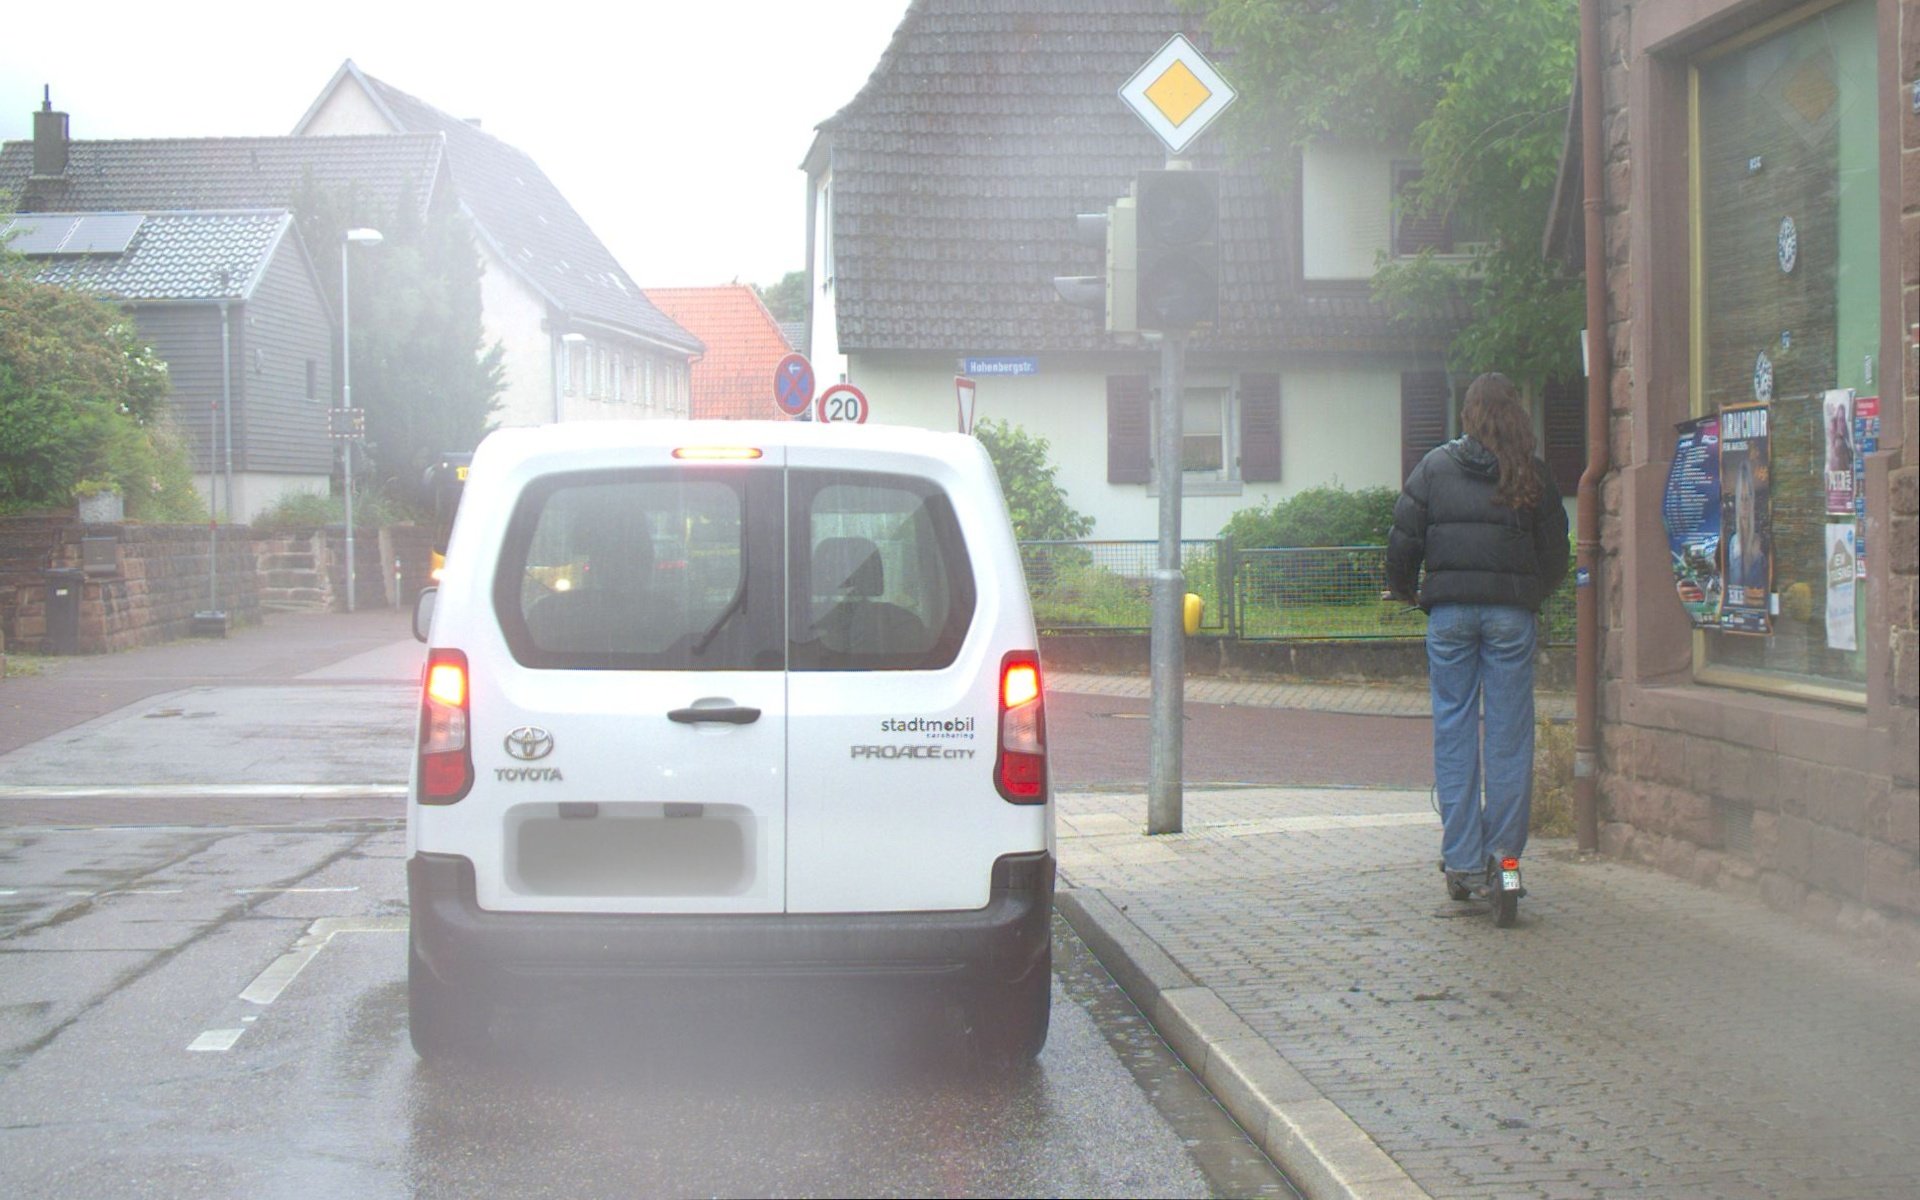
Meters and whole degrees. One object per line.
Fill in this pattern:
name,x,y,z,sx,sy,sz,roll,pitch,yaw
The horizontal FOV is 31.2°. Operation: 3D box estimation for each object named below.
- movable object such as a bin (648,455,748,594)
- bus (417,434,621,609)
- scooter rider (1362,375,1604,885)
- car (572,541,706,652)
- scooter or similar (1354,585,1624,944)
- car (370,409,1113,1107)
movable object such as a bin,-5.185,-1.506,68.406,1.727,2.644,3.974,1,1,-1
bus,-8.208,-1.653,65.392,2.649,2.989,12.195,0,3,-2
scooter rider,1.805,0.099,11.926,0.731,1.727,0.518,0,0,-4
car,-4.906,-0.084,52.927,1.809,1.591,3.756,1,1,-2
scooter or similar,1.803,0.532,11.892,0.620,1.123,1.402,0,2,-4
car,-0.701,0.370,10.829,1.894,1.787,3.814,1,1,-4
